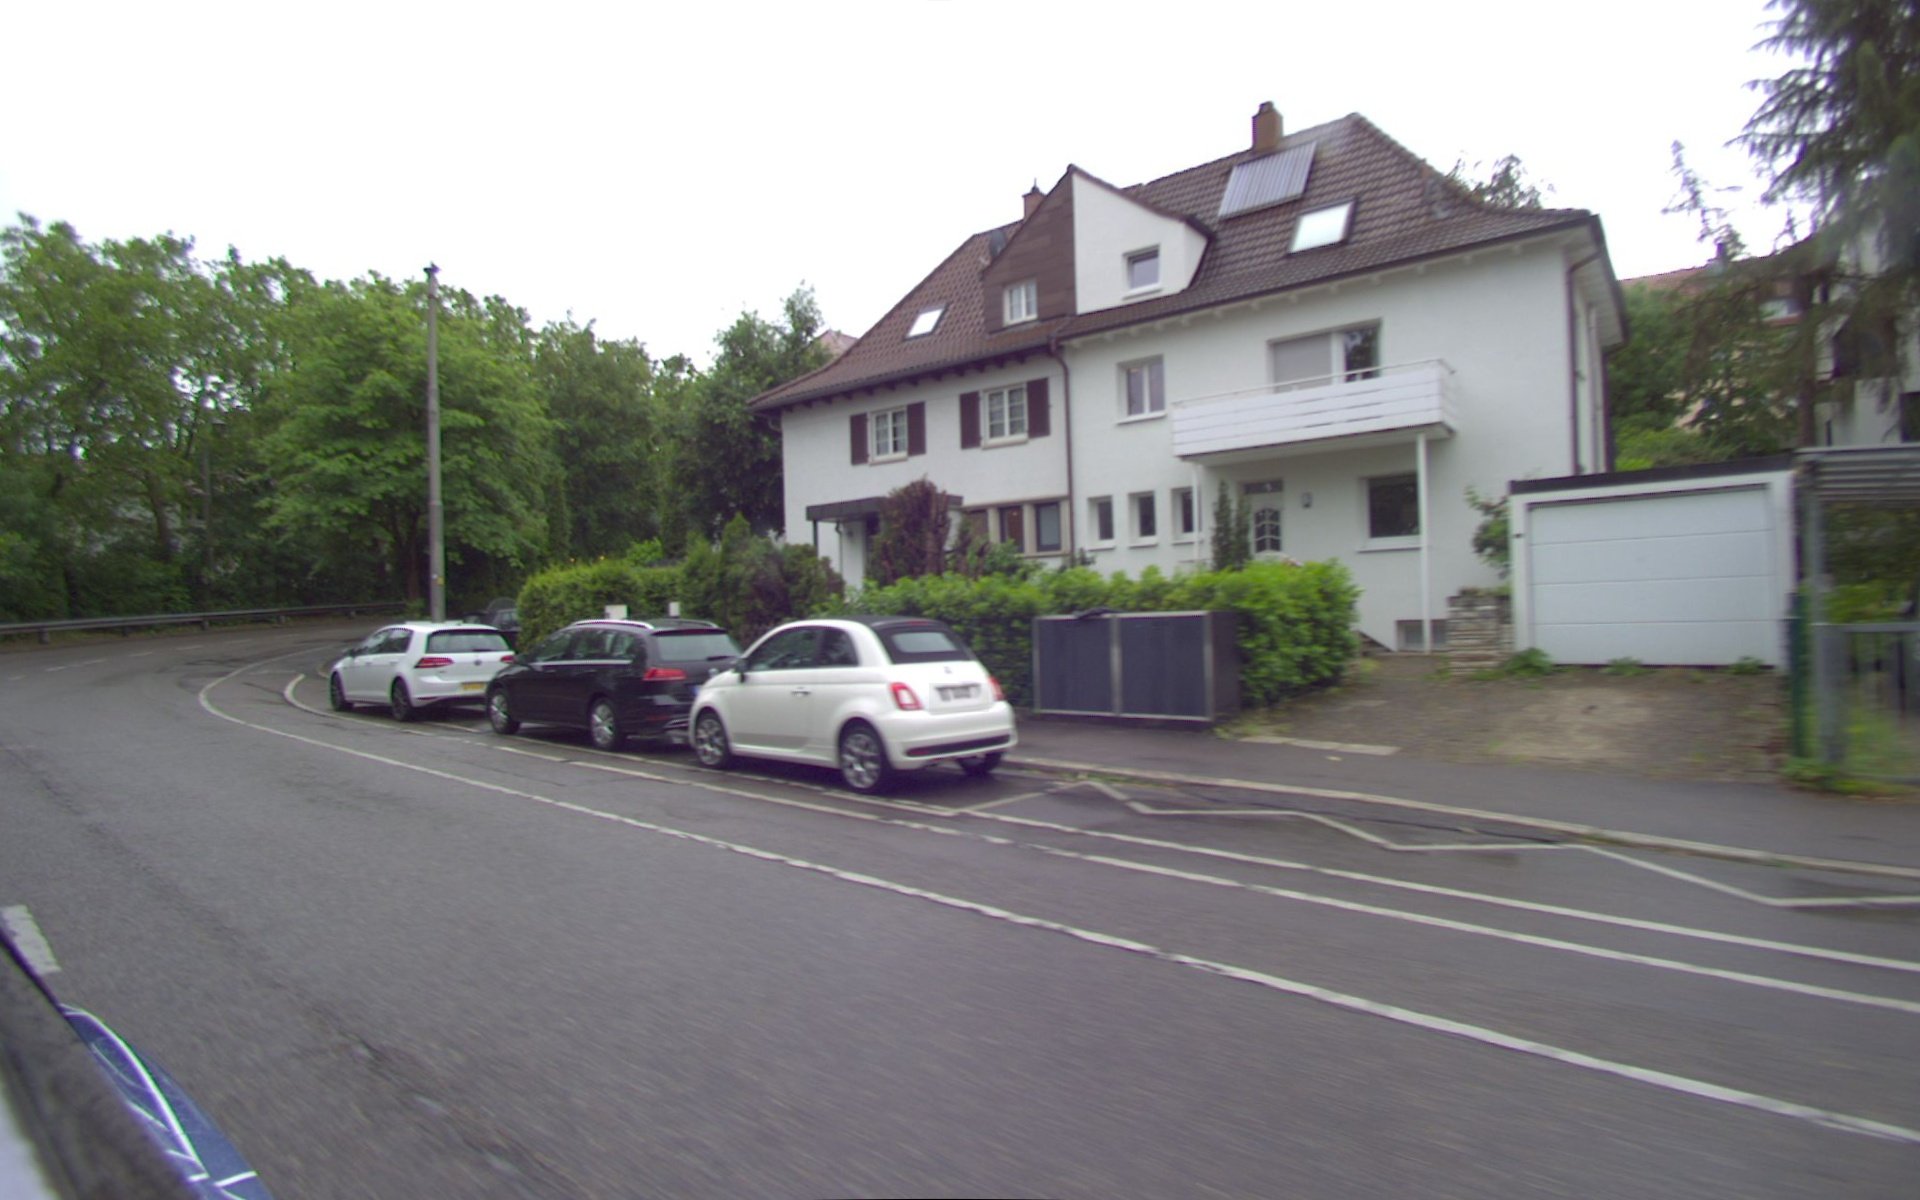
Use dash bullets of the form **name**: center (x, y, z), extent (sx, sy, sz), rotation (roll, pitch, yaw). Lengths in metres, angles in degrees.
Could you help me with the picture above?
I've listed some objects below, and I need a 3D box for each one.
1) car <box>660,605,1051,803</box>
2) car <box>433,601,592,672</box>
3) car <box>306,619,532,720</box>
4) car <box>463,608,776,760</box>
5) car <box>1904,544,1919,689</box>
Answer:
- **car**: center (-1.122, 0.837, 9.680), extent (3.711, 1.479, 1.680), rotation (-1, 0, 43)
- **car**: center (-11.760, 0.900, 26.743), extent (1.820, 1.531, 3.307), rotation (0, 4, 37)
- **car**: center (-8.805, 1.050, 16.325), extent (4.279, 1.433, 1.715), rotation (-1, -3, 40)
- **car**: center (-4.379, 0.920, 12.645), extent (4.420, 1.536, 1.681), rotation (-1, 0, 41)
- **car**: center (11.263, 0.168, 10.726), extent (1.660, 1.458, 3.947), rotation (0, 4, 41)
